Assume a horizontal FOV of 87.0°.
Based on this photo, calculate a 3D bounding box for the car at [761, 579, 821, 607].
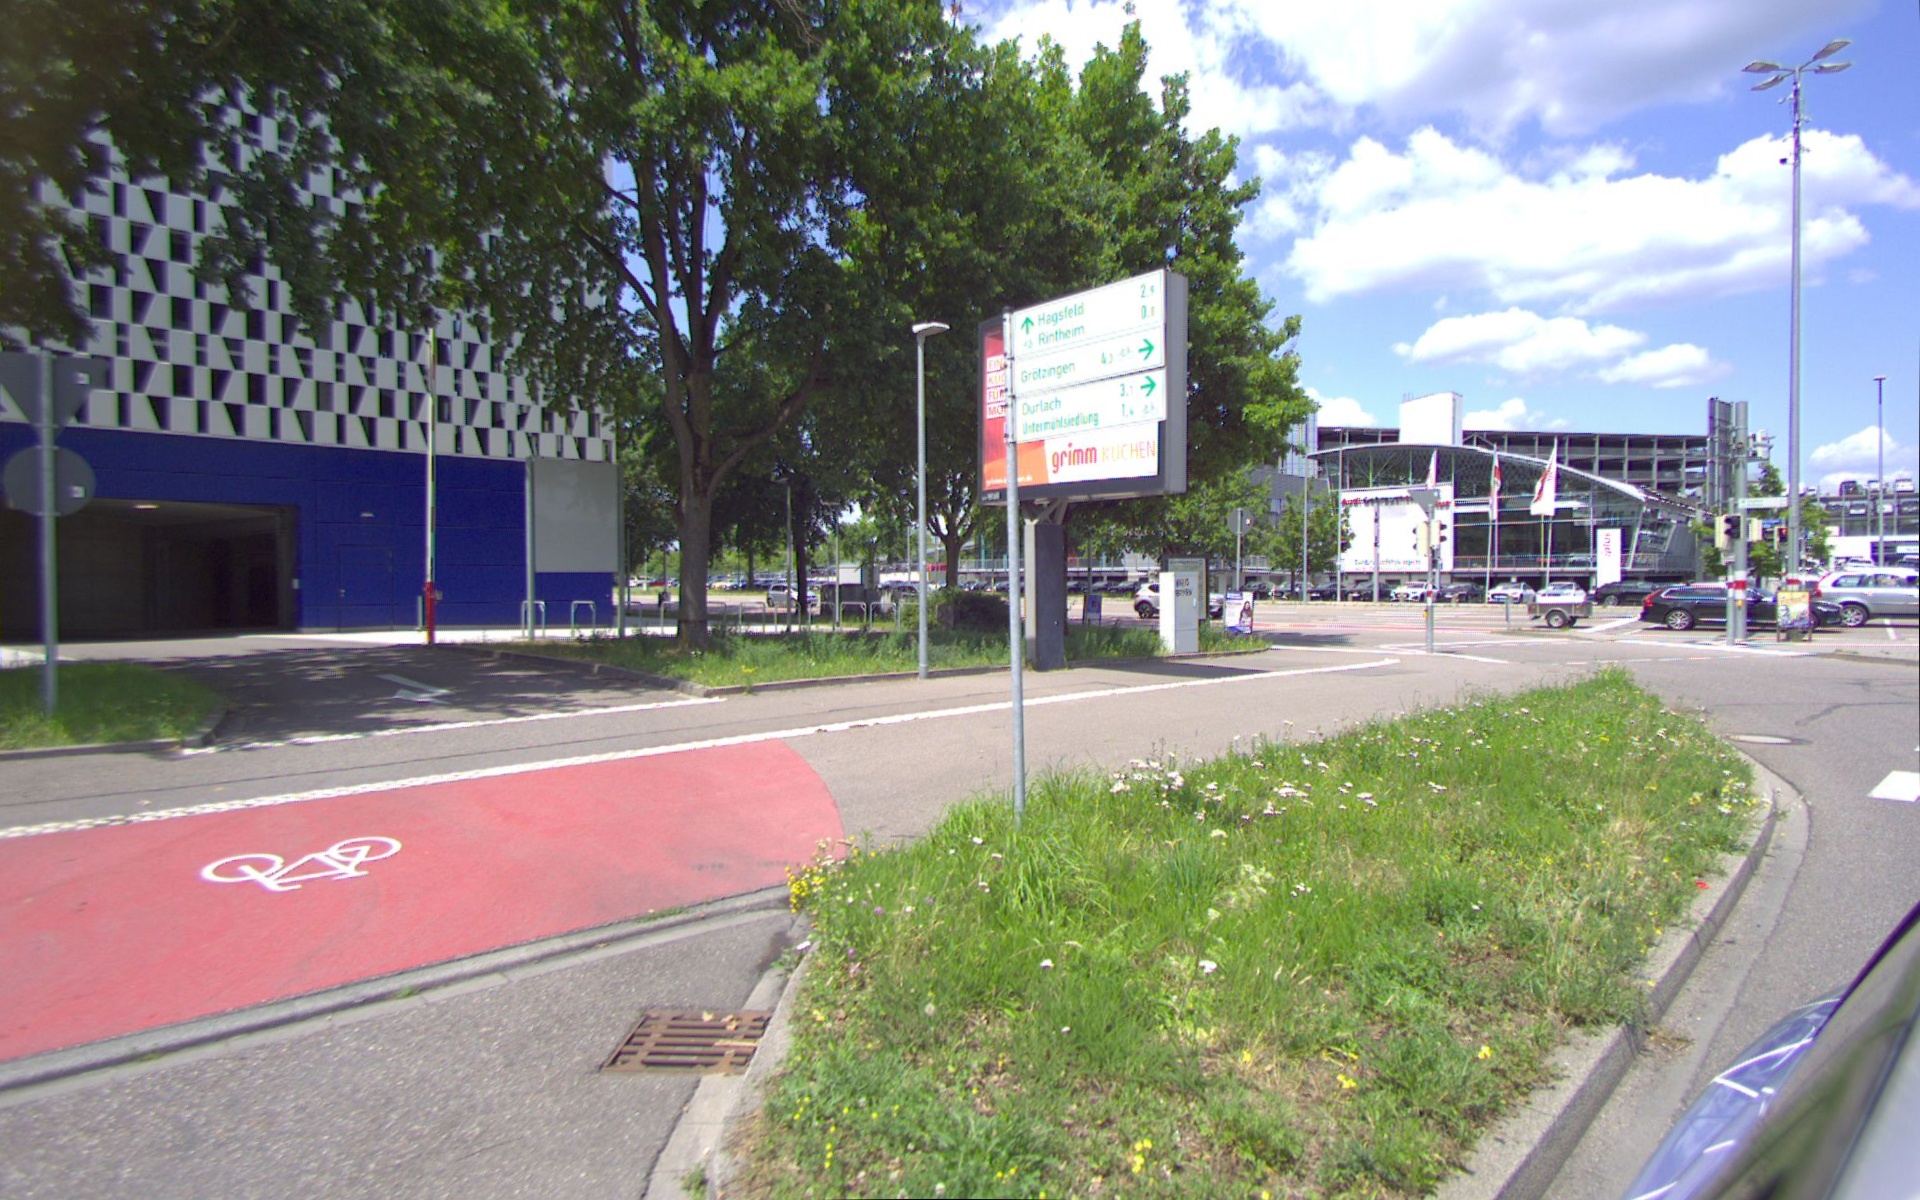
[{"bbox_3d":[-10.955,-0.484,65.623,3.987,1.712,1.829,2,1,44],"label":"car"}]

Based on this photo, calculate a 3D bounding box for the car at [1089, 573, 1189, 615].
[{"bbox_3d":[8.145,-0.293,46.306,1.834,1.749,4.180,-3,3,-45],"label":"car"}]

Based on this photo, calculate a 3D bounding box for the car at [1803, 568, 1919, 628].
[{"bbox_3d":[26.398,-0.083,27.816,1.968,1.599,4.808,-2,1,-45],"label":"car"}]

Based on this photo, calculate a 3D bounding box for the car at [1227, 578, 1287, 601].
[{"bbox_3d":[20.460,-0.711,69.720,3.922,1.571,1.799,0,1,-33],"label":"car"}]

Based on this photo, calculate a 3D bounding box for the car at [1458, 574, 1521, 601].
[{"bbox_3d":[32.001,-0.760,61.146,3.926,1.593,1.842,0,1,-37],"label":"car"}]

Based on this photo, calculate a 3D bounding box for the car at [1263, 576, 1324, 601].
[{"bbox_3d":[22.259,-0.754,67.478,3.922,1.571,1.799,0,1,-33],"label":"car"}]

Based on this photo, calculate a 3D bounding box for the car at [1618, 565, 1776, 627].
[{"bbox_3d":[22.794,-0.157,31.367,1.834,1.749,3.749,-3,3,-45],"label":"car"}]

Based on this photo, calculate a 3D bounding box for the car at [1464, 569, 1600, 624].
[{"bbox_3d":[19.552,-0.137,34.667,1.647,1.749,3.749,-3,3,-45],"label":"car"}]

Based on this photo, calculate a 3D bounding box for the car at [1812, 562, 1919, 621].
[{"bbox_3d":[28.696,-0.266,30.326,1.833,1.749,4.742,-1,1,-45],"label":"car"}]

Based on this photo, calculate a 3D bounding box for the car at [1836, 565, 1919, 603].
[{"bbox_3d":[46.387,-0.796,50.412,1.967,1.805,3.990,0,1,-44],"label":"car"}]

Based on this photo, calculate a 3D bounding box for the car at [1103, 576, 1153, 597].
[{"bbox_3d":[13.087,-1.025,78.577,3.932,1.571,1.794,0,1,-43],"label":"car"}]

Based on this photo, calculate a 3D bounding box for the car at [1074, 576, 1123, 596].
[{"bbox_3d":[11.056,-1.102,80.573,3.932,1.571,1.794,0,1,-43],"label":"car"}]

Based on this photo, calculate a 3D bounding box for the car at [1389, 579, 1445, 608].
[{"bbox_3d":[28.035,-0.428,62.035,3.697,1.749,1.859,-1,1,-43],"label":"car"}]

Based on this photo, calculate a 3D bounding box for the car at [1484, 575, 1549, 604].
[{"bbox_3d":[32.029,-0.625,58.216,3.926,1.593,1.842,0,1,-37],"label":"car"}]
